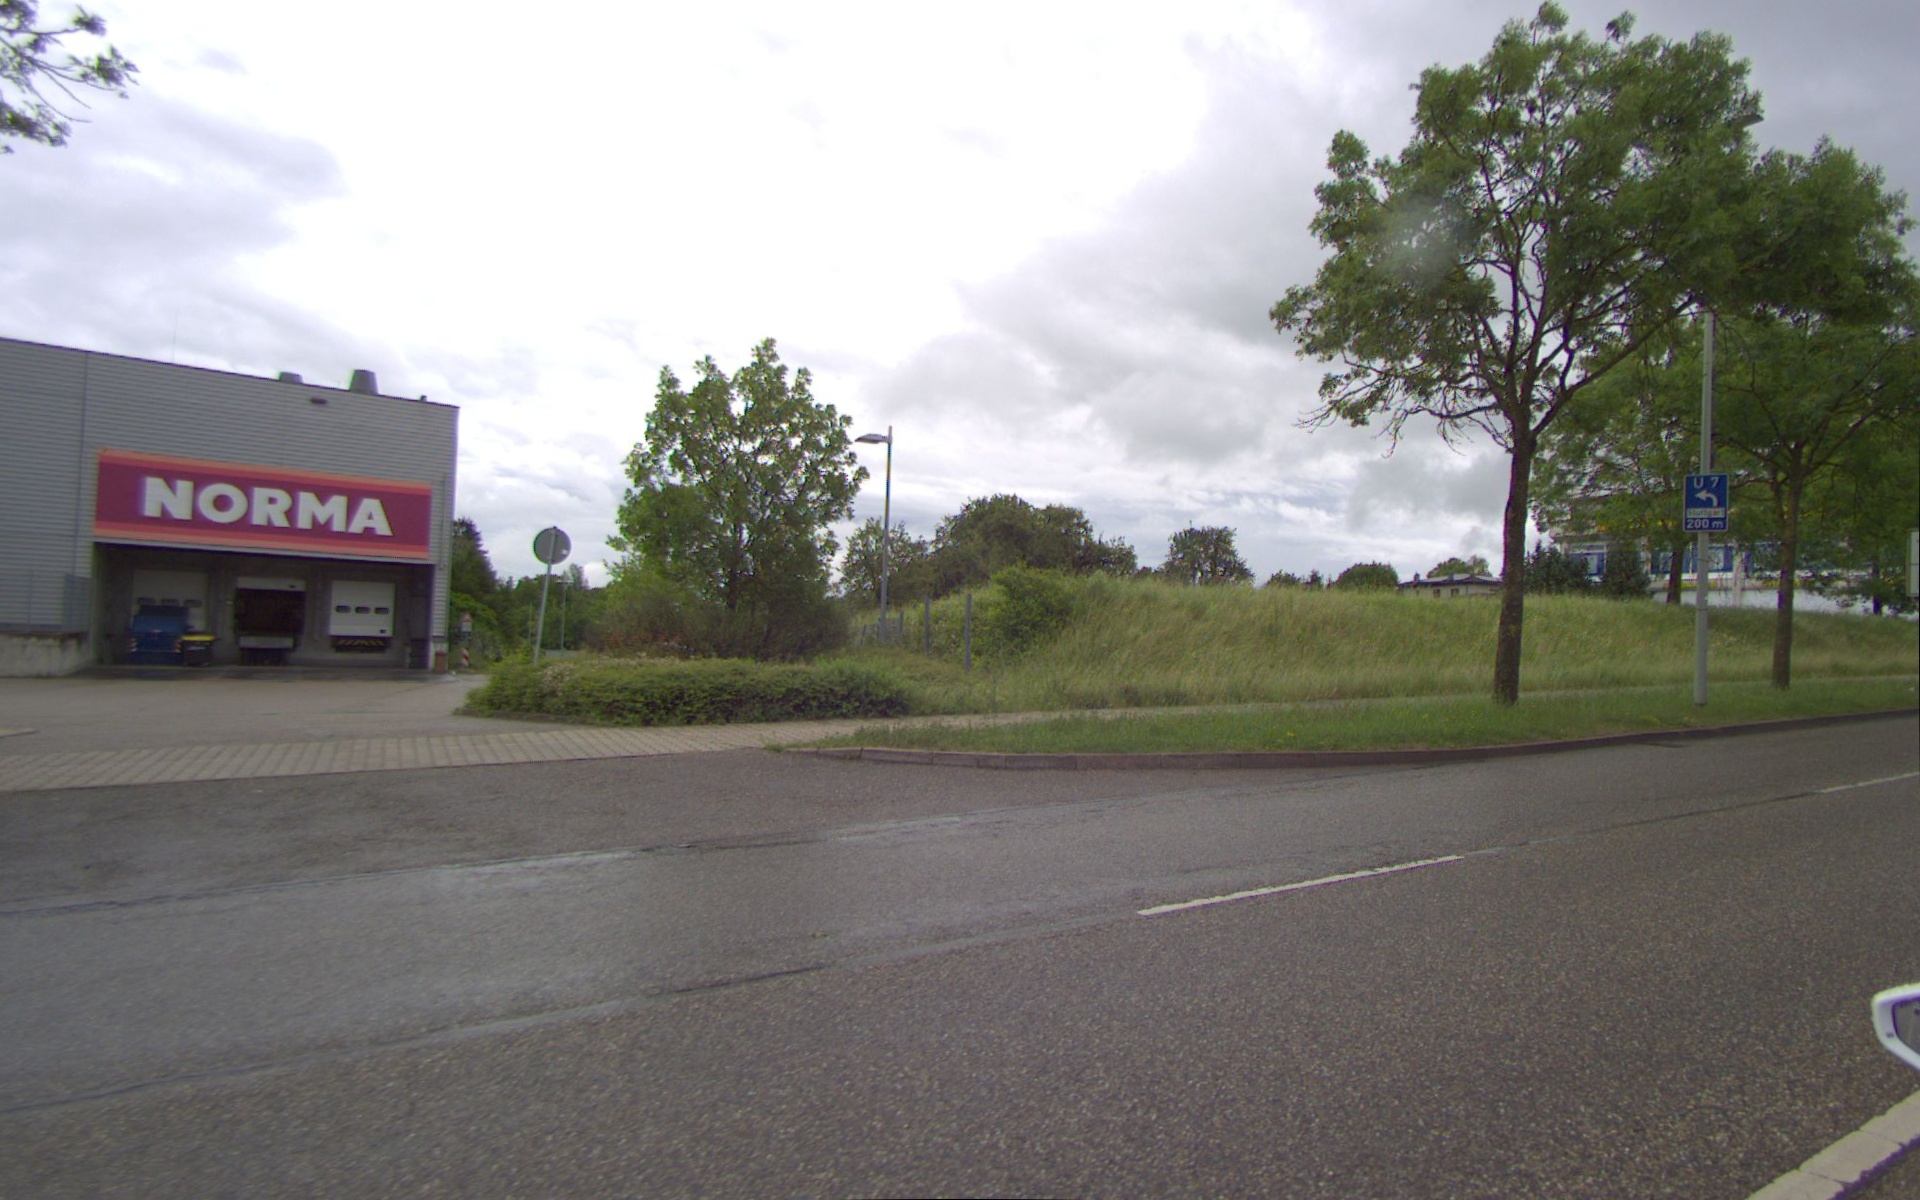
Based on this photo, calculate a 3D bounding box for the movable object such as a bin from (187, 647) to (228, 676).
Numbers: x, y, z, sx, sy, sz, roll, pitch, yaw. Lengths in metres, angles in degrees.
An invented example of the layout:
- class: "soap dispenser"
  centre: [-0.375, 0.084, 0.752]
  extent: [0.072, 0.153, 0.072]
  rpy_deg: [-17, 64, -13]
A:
- class: "movable object such as a bin"
  centre: [-32.915, 2.697, 43.958]
  extent: [1.228, 1.195, 1.413]
  rpy_deg: [3, -3, -32]
